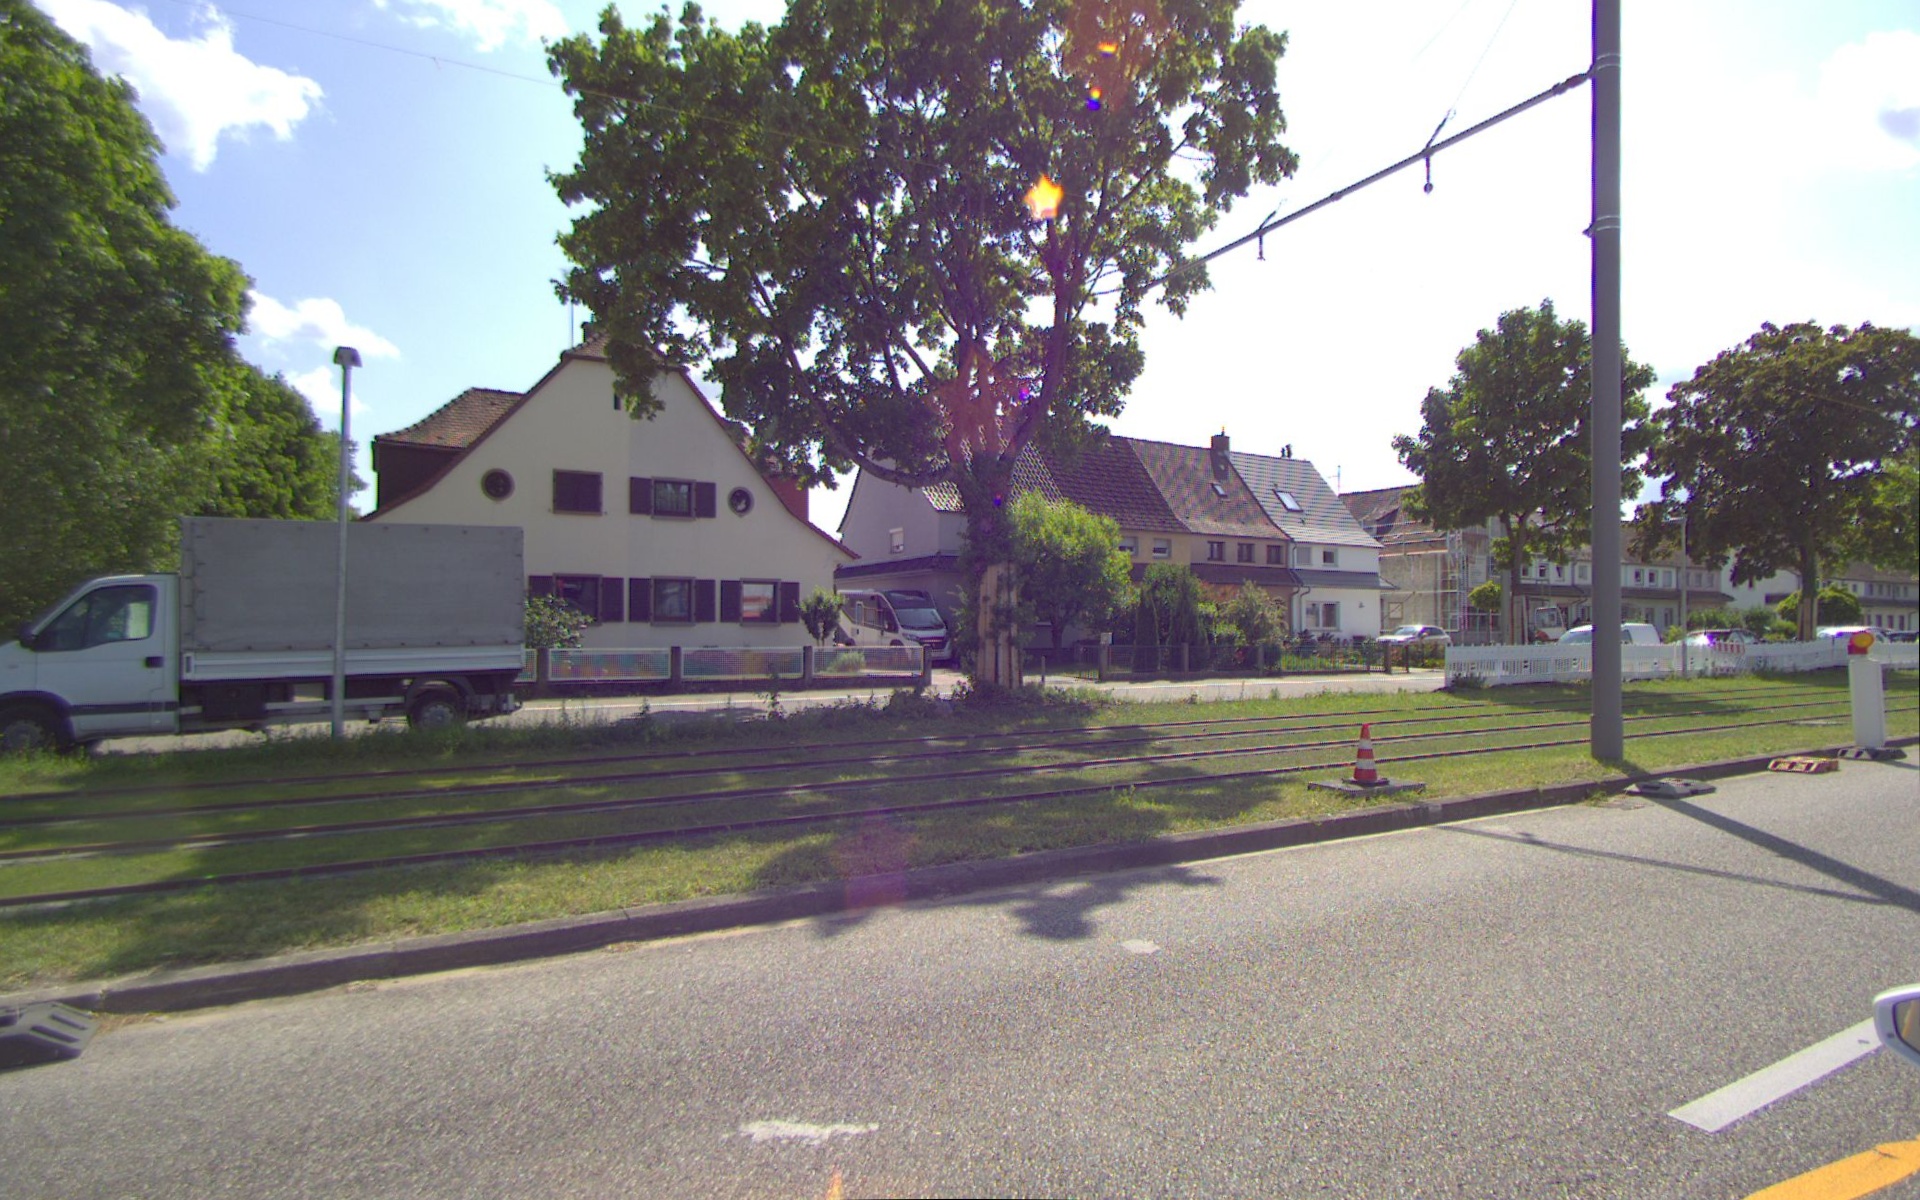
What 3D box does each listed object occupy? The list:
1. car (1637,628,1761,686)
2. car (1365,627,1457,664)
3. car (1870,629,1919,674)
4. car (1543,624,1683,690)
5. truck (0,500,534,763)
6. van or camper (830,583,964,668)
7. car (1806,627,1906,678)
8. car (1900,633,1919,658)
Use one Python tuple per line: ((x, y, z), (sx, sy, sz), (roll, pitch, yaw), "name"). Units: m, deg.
((24.294, 1.825, 33.000), (4.177, 1.797, 1.768), (1, -2, -30), "car")
((19.993, 1.992, 44.495), (3.952, 1.539, 1.768), (1, -2, -30), "car")
((40.649, 2.165, 42.695), (4.079, 1.829, 1.768), (1, -2, -30), "car")
((19.559, 1.646, 30.052), (4.312, 1.845, 1.768), (1, -2, -30), "car")
((-8.831, 0.406, 12.971), (5.906, 2.817, 2.255), (1, -2, -31), "truck")
((-2.420, 0.940, 36.620), (2.269, 2.801, 6.051), (1, -2, -32), "van or camper")
((35.366, 2.032, 39.639), (4.079, 1.892, 1.768), (1, -2, -30), "car")
((70.035, 3.304, 72.745), (4.079, 1.745, 1.768), (1, -2, -30), "car")
